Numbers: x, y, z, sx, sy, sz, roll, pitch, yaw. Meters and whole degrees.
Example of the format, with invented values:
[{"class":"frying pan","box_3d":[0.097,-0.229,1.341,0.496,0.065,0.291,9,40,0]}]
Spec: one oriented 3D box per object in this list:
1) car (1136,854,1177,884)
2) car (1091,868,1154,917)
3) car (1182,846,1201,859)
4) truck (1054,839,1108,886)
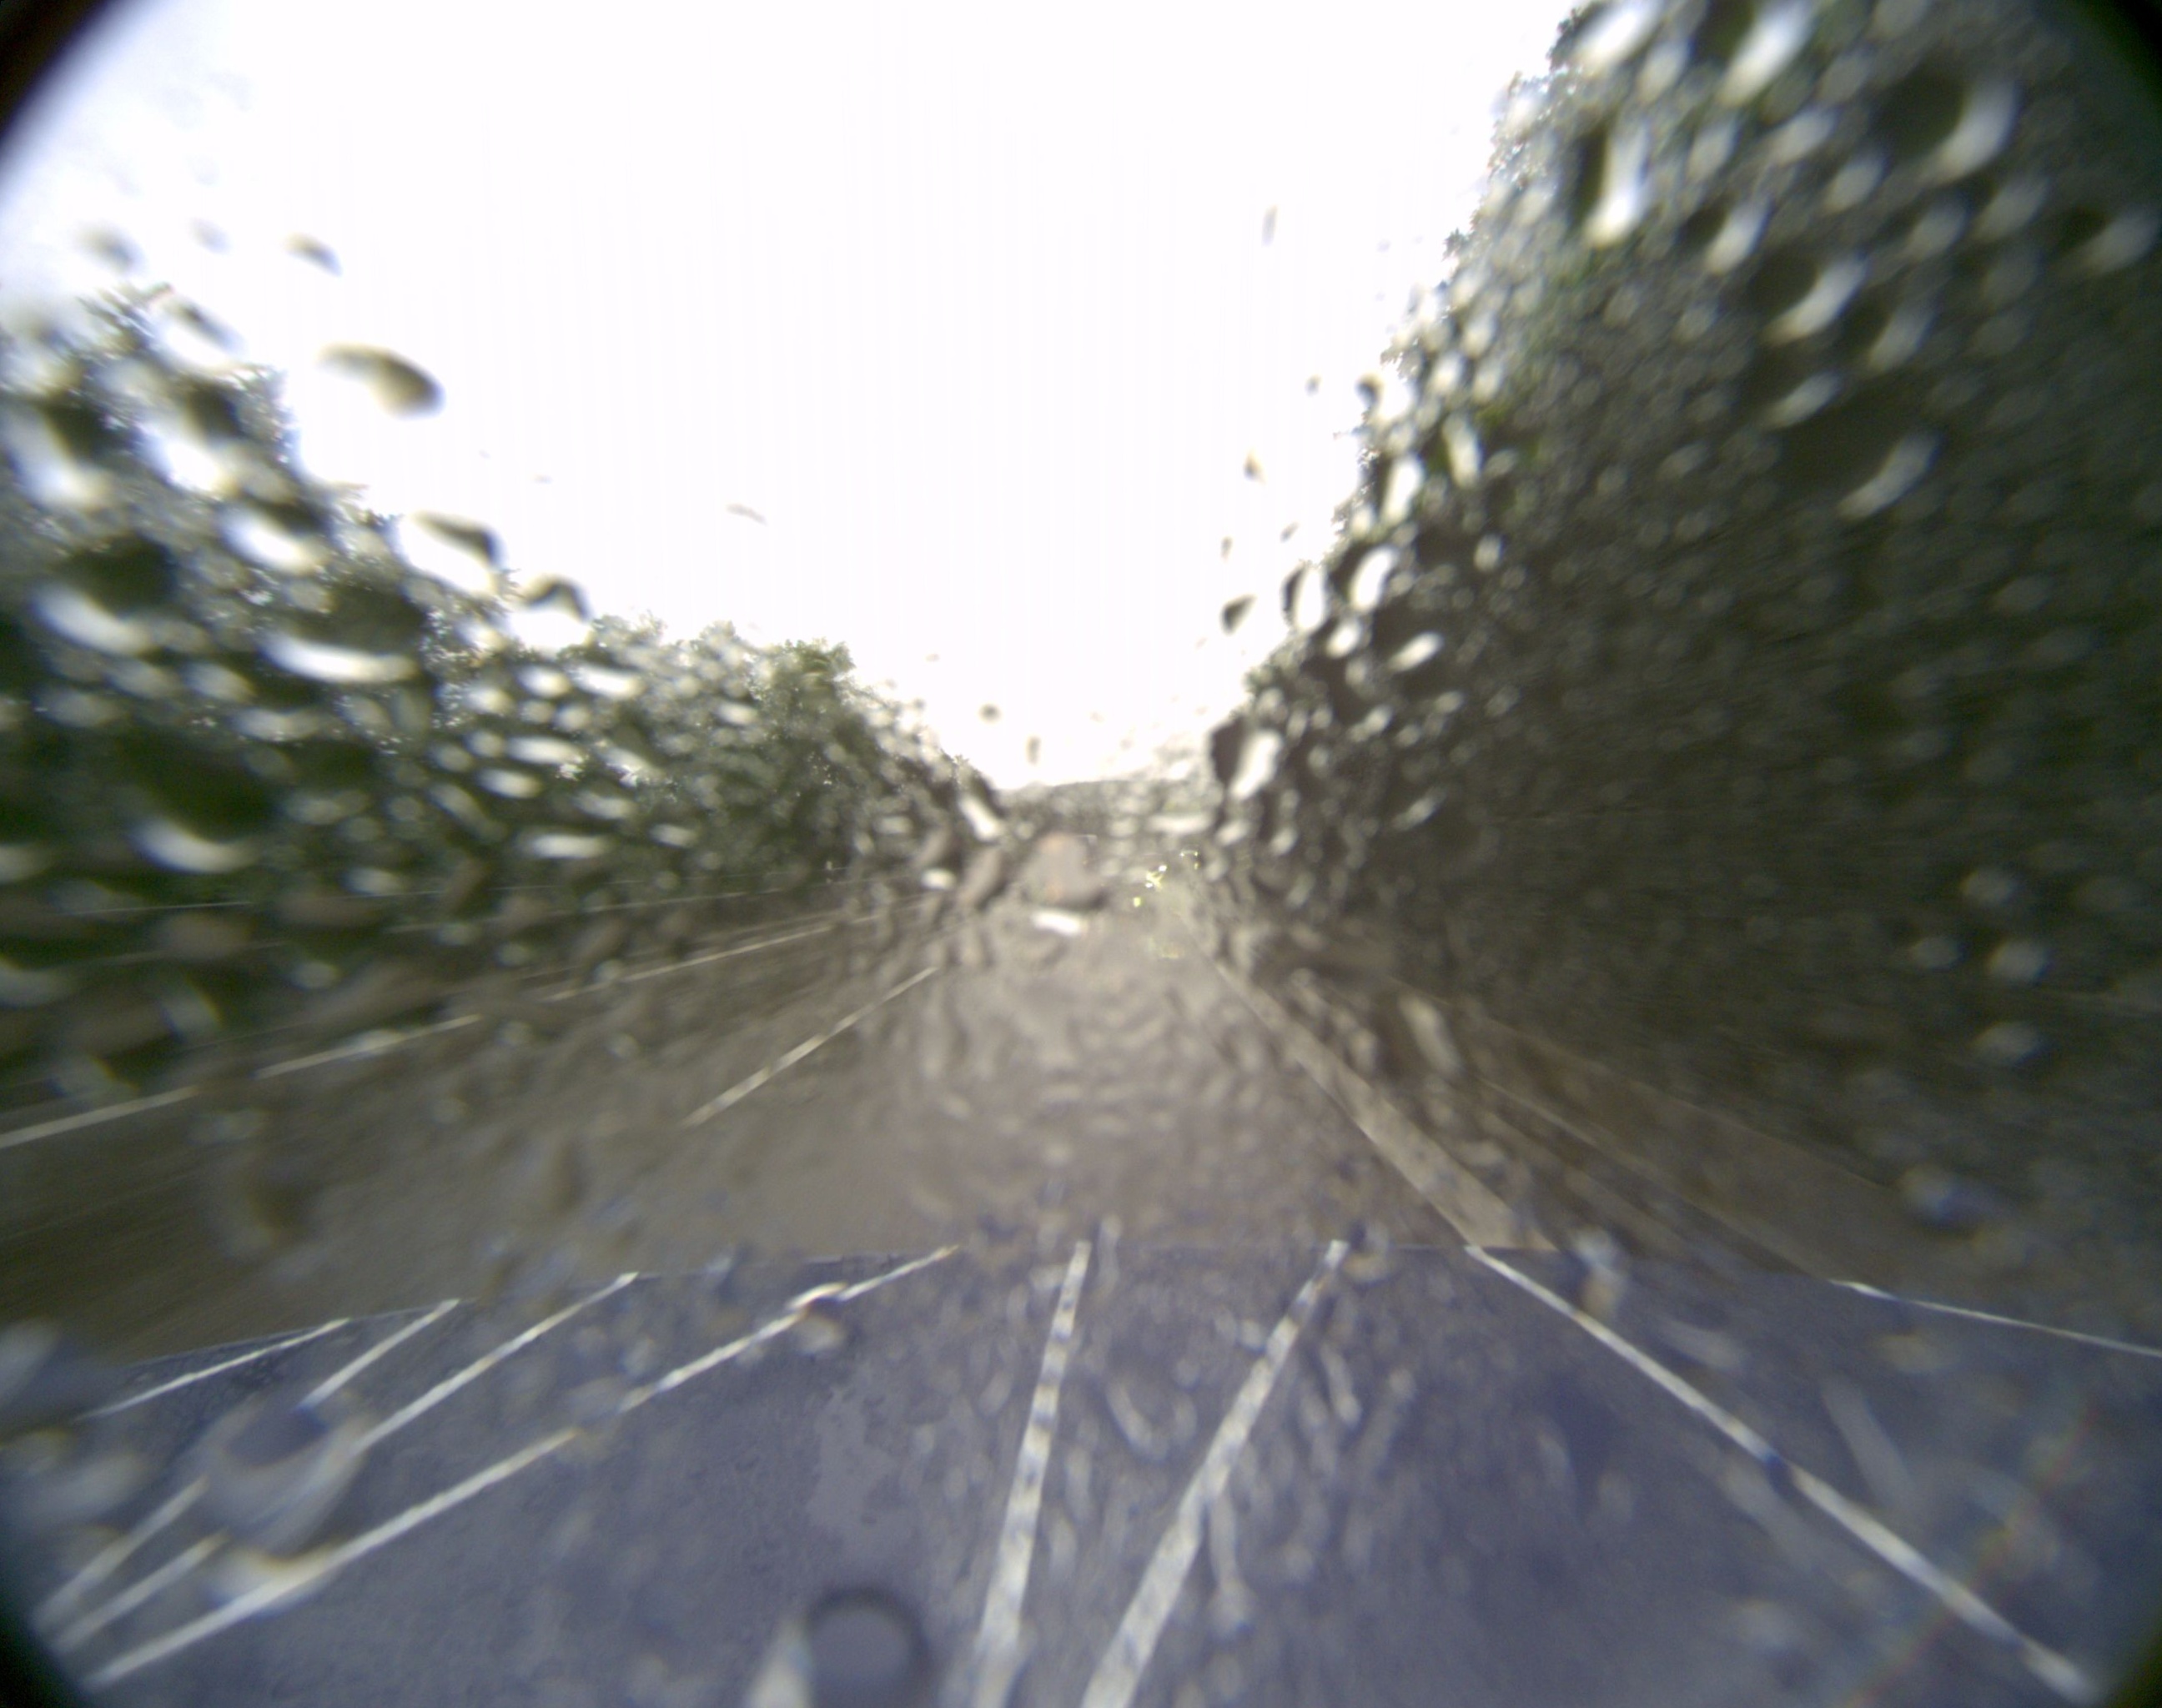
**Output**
[{"class":"car","box_3d":[4.130,0.795,41.075,1.826,1.375,4.003,-4,0,10]},{"class":"car","box_3d":[1.400,1.175,24.418,1.826,1.375,4.002,-1,0,5]},{"class":"car","box_3d":[13.206,-0.216,90.561,1.826,1.375,4.003,-4,0,12]},{"class":"truck","box_3d":[0.138,0.390,45.357,2.107,2.481,8.006,-2,1,7]}]
